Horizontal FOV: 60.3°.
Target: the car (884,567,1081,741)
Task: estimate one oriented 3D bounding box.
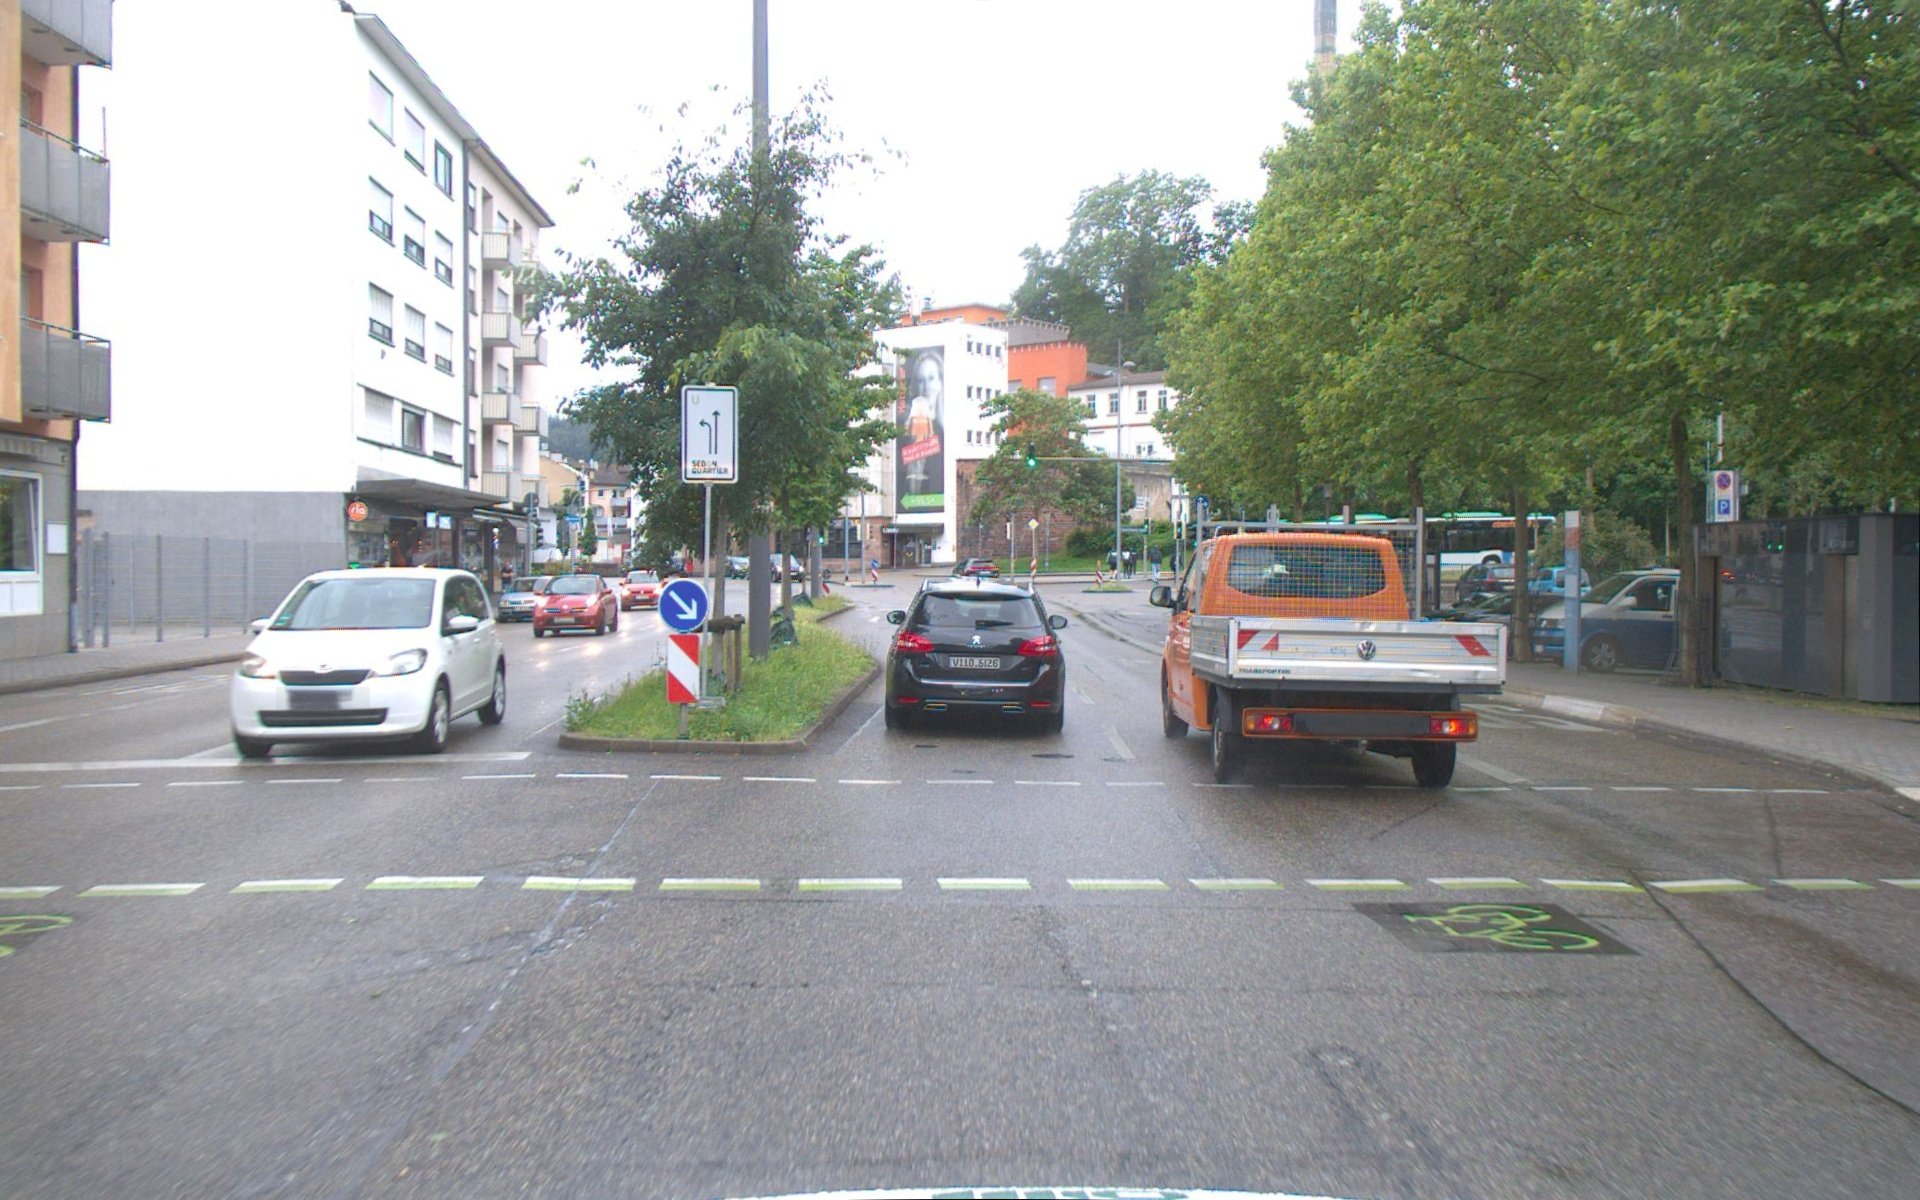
[{"bbox_3d":[0.180,0.461,17.151,1.758,1.509,4.000,2,1,-1],"label":"car"}]

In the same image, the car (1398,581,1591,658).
[{"bbox_3d":[12.483,0.431,38.801,3.906,1.535,1.743,3,1,-1],"label":"car"}]

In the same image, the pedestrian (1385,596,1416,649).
[{"bbox_3d":[11.881,0.605,44.602,0.608,1.381,0.726,1,0,-2],"label":"pedestrian"}]

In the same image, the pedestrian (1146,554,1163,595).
[{"bbox_3d":[9.859,-1.290,83.847,0.704,2.027,0.563,-1,2,-5],"label":"pedestrian"}]

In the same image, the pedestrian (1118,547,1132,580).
[{"bbox_3d":[8.750,-1.926,87.565,0.627,1.693,0.563,-1,2,-5],"label":"pedestrian"}]

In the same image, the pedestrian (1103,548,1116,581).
[{"bbox_3d":[7.915,-1.882,87.495,0.627,1.693,0.563,-1,2,-5],"label":"pedestrian"}]

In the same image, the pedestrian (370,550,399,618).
[{"bbox_3d":[-16.239,-0.454,46.642,0.627,1.893,0.523,1,1,-6],"label":"pedestrian"}]

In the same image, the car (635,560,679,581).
[{"bbox_3d":[-23.300,-2.238,127.263,3.540,1.536,1.589,2,1,44],"label":"car"}]

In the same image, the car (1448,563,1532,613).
[{"bbox_3d":[20.979,-0.488,65.652,1.794,1.857,4.225,1,1,-3],"label":"car"}]

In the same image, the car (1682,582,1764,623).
[{"bbox_3d":[31.504,0.088,68.404,1.598,1.595,3.606,1,1,-3],"label":"car"}]

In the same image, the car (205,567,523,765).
[{"bbox_3d":[-5.024,0.475,14.430,1.621,1.475,3.541,-1,1,-3],"label":"car"}]

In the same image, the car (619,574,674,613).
[{"bbox_3d":[-11.918,-0.262,63.099,1.657,1.426,3.658,1,1,-4],"label":"car"}]

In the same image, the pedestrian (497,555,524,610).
[{"bbox_3d":[-17.342,-0.675,63.771,0.721,2.049,0.649,4,-2,-37],"label":"pedestrian"}]

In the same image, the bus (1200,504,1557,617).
[{"bbox_3d":[21.366,-2.023,85.042,17.554,5.302,3.098,1,0,-1],"label":"bus"}]

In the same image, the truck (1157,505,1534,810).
[{"bbox_3d":[2.952,0.359,13.816,2.078,2.060,4.716,1,1,1],"label":"truck"}]

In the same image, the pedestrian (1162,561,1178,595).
[{"bbox_3d":[10.666,-1.120,83.967,0.704,1.693,0.563,-1,2,-5],"label":"pedestrian"}]

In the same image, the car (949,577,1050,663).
[{"bbox_3d":[0.679,0.318,31.250,1.758,1.509,4.000,0,1,-1],"label":"car"}]

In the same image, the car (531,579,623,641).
[{"bbox_3d":[-9.405,0.207,40.835,1.632,1.424,3.873,-1,1,-4],"label":"car"}]

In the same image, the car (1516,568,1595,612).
[{"bbox_3d":[23.511,-0.394,65.430,1.647,1.646,3.648,1,1,-3],"label":"car"}]

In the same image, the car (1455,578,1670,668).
[{"bbox_3d":[13.077,0.472,36.069,3.906,1.678,1.917,3,1,-1],"label":"car"}]

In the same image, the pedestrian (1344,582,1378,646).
[{"bbox_3d":[10.994,0.384,45.364,0.709,1.729,0.623,1,0,-2],"label":"pedestrian"}]

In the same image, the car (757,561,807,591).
[{"bbox_3d":[-10.278,-1.392,95.433,1.626,1.591,3.566,4,-2,-28],"label":"car"}]

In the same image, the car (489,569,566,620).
[{"bbox_3d":[-13.812,-0.215,53.011,1.742,1.551,3.658,1,1,-4],"label":"car"}]

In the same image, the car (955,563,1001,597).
[{"bbox_3d":[0.902,-1.034,85.908,1.616,1.591,3.589,3,-1,-12],"label":"car"}]

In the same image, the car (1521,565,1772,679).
[{"bbox_3d":[13.011,0.387,31.531,3.906,1.958,1.970,2,1,-1],"label":"car"}]

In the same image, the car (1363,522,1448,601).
[{"bbox_3d":[17.697,-1.512,65.949,2.031,3.022,4.225,1,1,-3],"label":"car"}]
